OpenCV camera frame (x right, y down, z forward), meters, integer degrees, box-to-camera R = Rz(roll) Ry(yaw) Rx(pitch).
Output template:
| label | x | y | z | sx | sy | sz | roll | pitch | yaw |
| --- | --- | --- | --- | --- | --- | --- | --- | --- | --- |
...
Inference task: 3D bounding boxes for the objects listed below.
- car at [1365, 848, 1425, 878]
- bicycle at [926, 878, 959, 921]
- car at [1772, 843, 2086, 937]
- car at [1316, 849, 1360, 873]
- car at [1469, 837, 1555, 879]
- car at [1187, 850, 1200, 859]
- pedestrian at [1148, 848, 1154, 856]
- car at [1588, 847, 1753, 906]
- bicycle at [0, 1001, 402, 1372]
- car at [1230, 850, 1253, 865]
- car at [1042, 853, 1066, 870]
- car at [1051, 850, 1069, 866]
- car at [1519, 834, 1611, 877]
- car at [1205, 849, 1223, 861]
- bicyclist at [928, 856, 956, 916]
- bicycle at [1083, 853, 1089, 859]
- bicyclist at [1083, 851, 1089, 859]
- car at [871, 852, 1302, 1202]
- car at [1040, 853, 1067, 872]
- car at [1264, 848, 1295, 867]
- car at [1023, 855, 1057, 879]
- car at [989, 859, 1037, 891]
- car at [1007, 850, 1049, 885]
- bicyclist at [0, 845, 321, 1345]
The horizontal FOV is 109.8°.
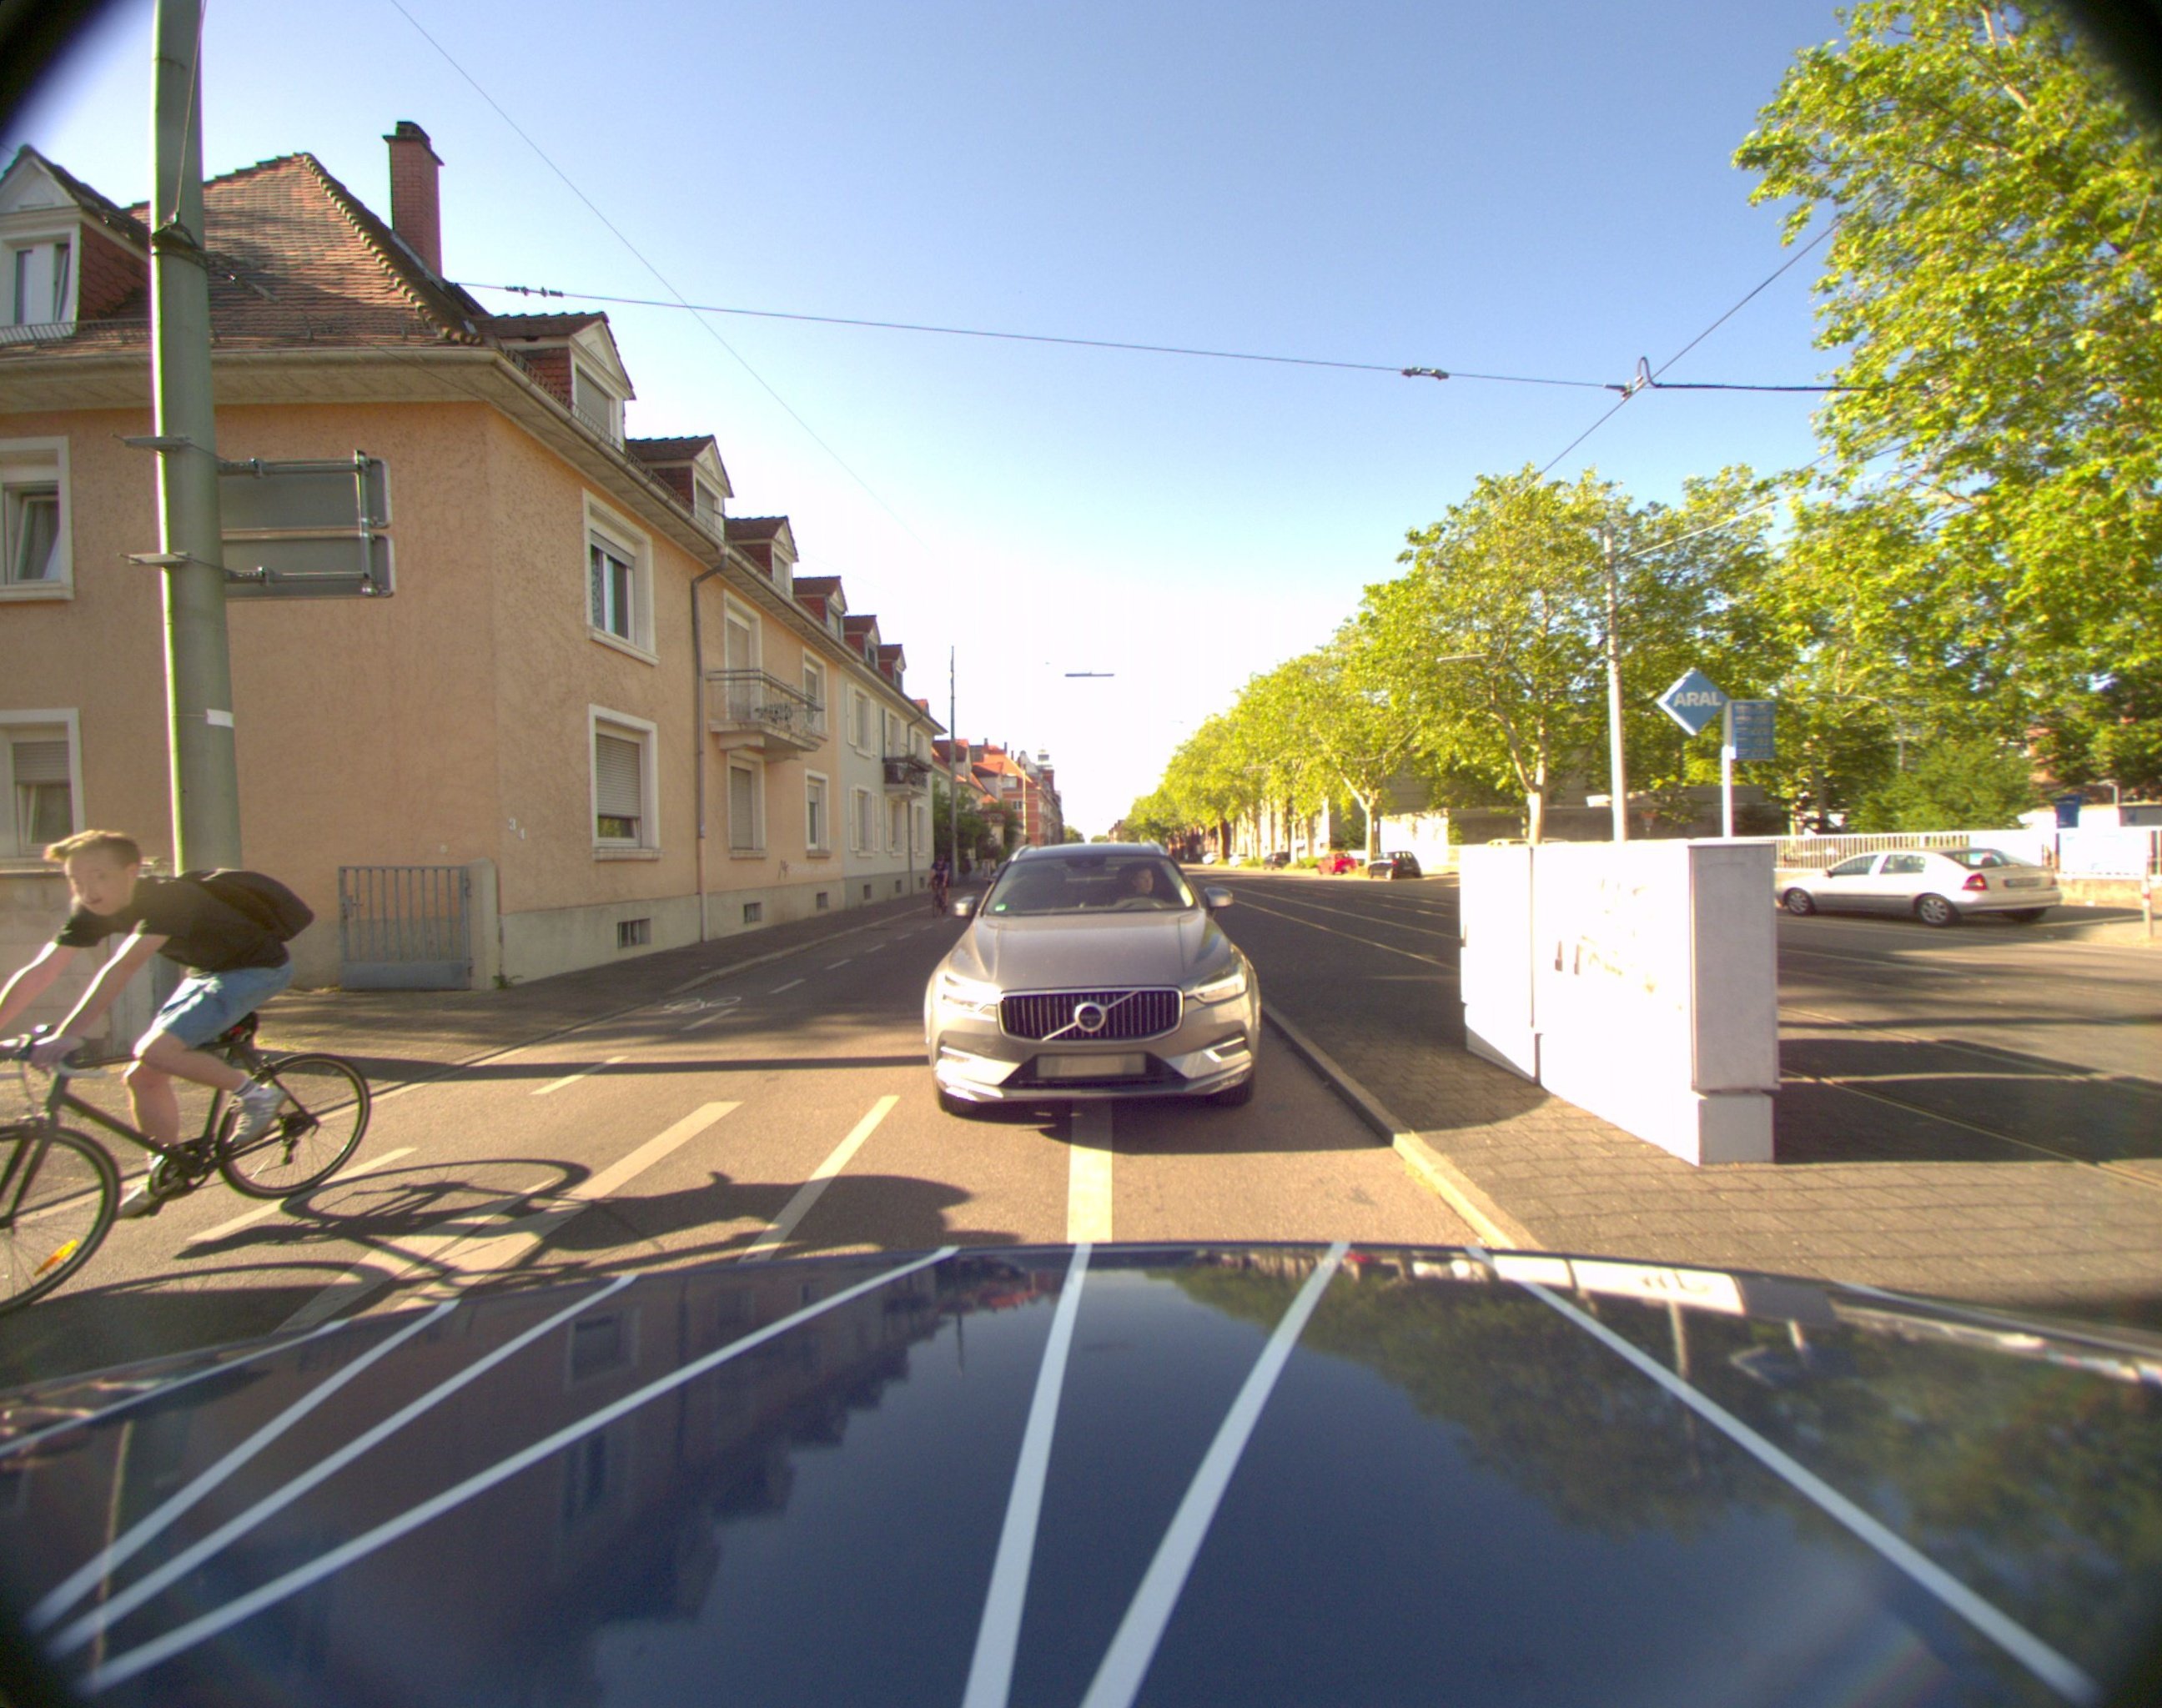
| label | x | y | z | sx | sy | sz | roll | pitch | yaw |
| --- | --- | --- | --- | --- | --- | --- | --- | --- | --- |
| car | 16.895 | 0.461 | 41.044 | 1.758 | 1.449 | 3.858 | -3 | 0 | 3 |
| bicycle | -3.813 | 1.224 | 21.036 | 0.550 | 1.056 | 1.794 | -1 | 1 | 0 |
| car | 16.241 | 0.611 | 14.910 | 1.847 | 1.477 | 3.858 | -4 | 0 | 2 |
| car | 16.907 | 0.453 | 50.186 | 1.717 | 1.421 | 3.858 | -3 | 0 | 3 |
| car | 21.815 | 0.172 | 38.643 | 1.999 | 2.002 | 3.999 | -1 | 0 | -1 |
| car | 18.513 | 0.060 | 125.295 | 1.758 | 1.475 | 3.858 | -3 | 0 | 3 |
| pedestrian | 19.601 | -0.544 | 213.139 | 1.686 | 2.002 | 1.761 | -1 | 1 | 1 |
| car | 16.481 | 0.571 | 21.517 | 1.745 | 1.389 | 3.858 | -4 | 0 | 3 |
| bicycle | -3.981 | 1.296 | 3.195 | 0.533 | 1.011 | 1.759 | -1 | 0 | 5 |
| car | 17.583 | 0.358 | 83.345 | 1.758 | 1.475 | 3.858 | -3 | 0 | 3 |
| car | -2.349 | 0.621 | 66.364 | 1.867 | 1.399 | 4.078 | -1 | 0 | 1 |
| car | -2.320 | 0.432 | 85.453 | 1.867 | 1.653 | 4.078 | -1 | 0 | 1 |
| car | 24.163 | 0.083 | 38.102 | 1.999 | 2.002 | 3.999 | -1 | 0 | -1 |
| car | 17.676 | 0.166 | 100.939 | 1.758 | 1.475 | 3.858 | -3 | 0 | 3 |
| bicyclist | -3.833 | 0.860 | 21.045 | 0.562 | 1.607 | 1.016 | -1 | 1 | 0 |
| bicycle | 0.940 | 0.396 | 147.706 | 1.054 | 1.262 | 3.914 | -1 | 0 | 1 |
| bicyclist | 0.944 | 0.112 | 147.746 | 1.054 | 1.496 | 1.250 | -1 | 1 | 1 |
| car | 0.059 | 0.817 | 5.934 | 1.998 | 1.609 | 4.697 | -1 | 0 | 1 |
| car | -2.129 | 0.668 | 60.060 | 1.867 | 1.399 | 4.078 | -1 | 0 | 1 |
| car | 17.177 | 0.296 | 65.918 | 1.758 | 1.536 | 3.858 | -3 | 0 | 3 |
| car | -2.574 | 0.814 | 48.501 | 1.867 | 1.399 | 4.078 | -1 | 0 | 1 |
| car | -3.233 | 0.965 | 37.079 | 1.867 | 1.399 | 4.424 | -1 | 0 | 1 |
| car | -2.910 | 0.702 | 42.833 | 1.867 | 1.778 | 5.297 | -1 | 0 | 1 |
| bicyclist | -3.994 | 0.836 | 3.096 | 0.561 | 1.721 | 1.084 | -2 | 1 | 5 |
